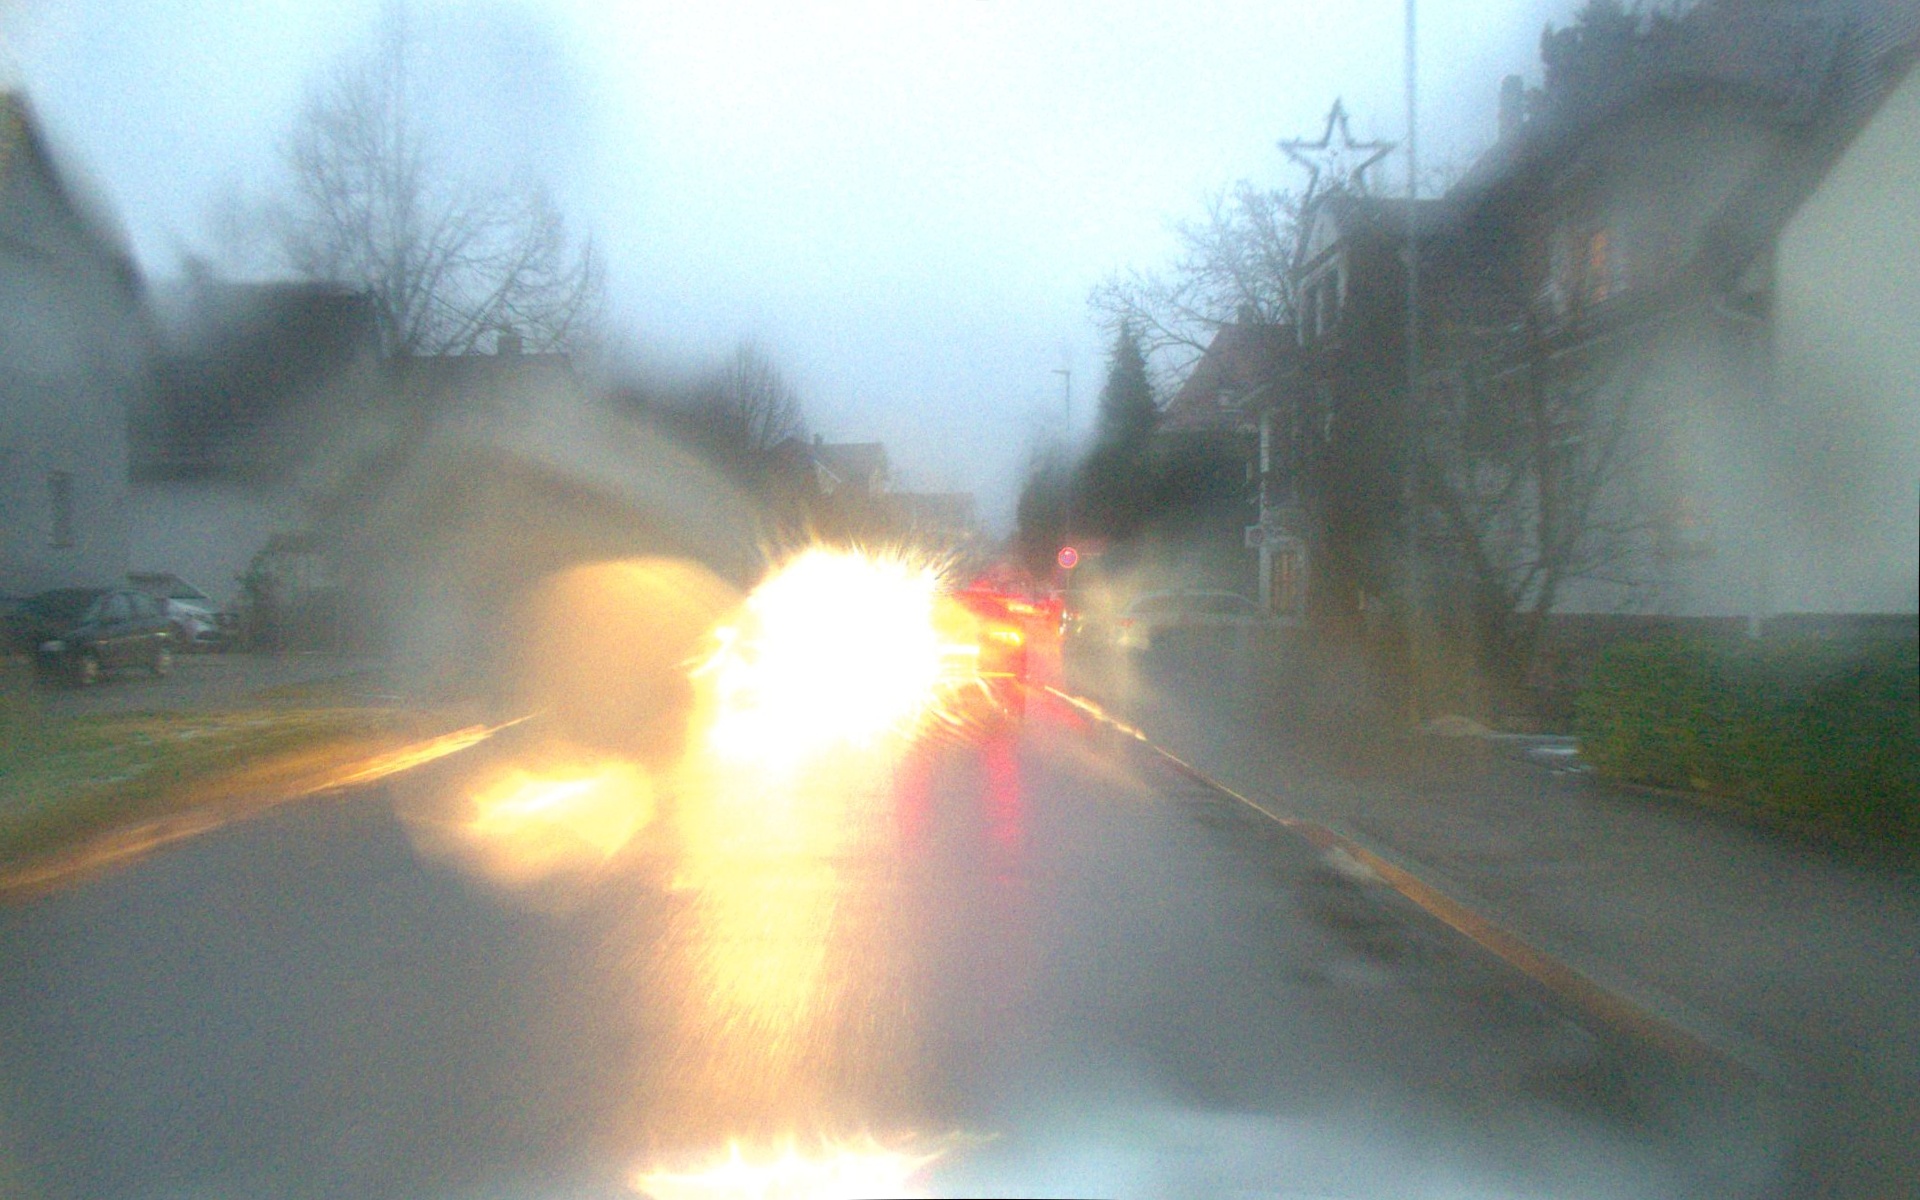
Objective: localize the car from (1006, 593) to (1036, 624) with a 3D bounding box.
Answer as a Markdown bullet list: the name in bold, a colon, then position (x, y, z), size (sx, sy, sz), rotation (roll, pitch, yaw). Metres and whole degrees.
- **car**: position (4.155, 0.575, 111.875), size (1.952, 2.049, 4.002), rotation (0, 0, 3)

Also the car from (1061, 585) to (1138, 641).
- **car**: position (4.106, 0.355, 49.398), size (1.854, 1.581, 4.755), rotation (-1, 0, 0)

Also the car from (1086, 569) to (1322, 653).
- **car**: position (4.918, 0.216, 33.846), size (4.634, 1.658, 1.908), rotation (0, 0, 3)

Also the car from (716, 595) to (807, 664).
- **car**: position (-4.483, 0.638, 37.733), size (1.669, 1.466, 3.999), rotation (-1, 0, -2)

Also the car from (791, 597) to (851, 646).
- **car**: position (-4.417, 0.652, 53.087), size (1.669, 1.466, 4.423), rotation (-1, 0, -2)

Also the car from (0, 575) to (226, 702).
- **car**: position (-13.311, 0.540, 25.448), size (1.952, 1.786, 4.568), rotation (0, 0, 0)

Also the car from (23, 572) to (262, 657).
- **car**: position (-18.283, 0.313, 37.087), size (4.455, 1.831, 1.913), rotation (0, 0, 7)

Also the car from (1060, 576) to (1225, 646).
- **car**: position (4.701, 0.285, 43.048), size (4.019, 1.736, 1.999), rotation (1, -1, -2)

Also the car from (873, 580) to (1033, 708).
- **car**: position (-0.151, 0.541, 22.405), size (1.953, 1.552, 3.998), rotation (1, 0, -2)

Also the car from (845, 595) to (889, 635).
- **car**: position (-4.122, 0.647, 73.914), size (1.777, 1.661, 4.223), rotation (-1, 0, -1)
